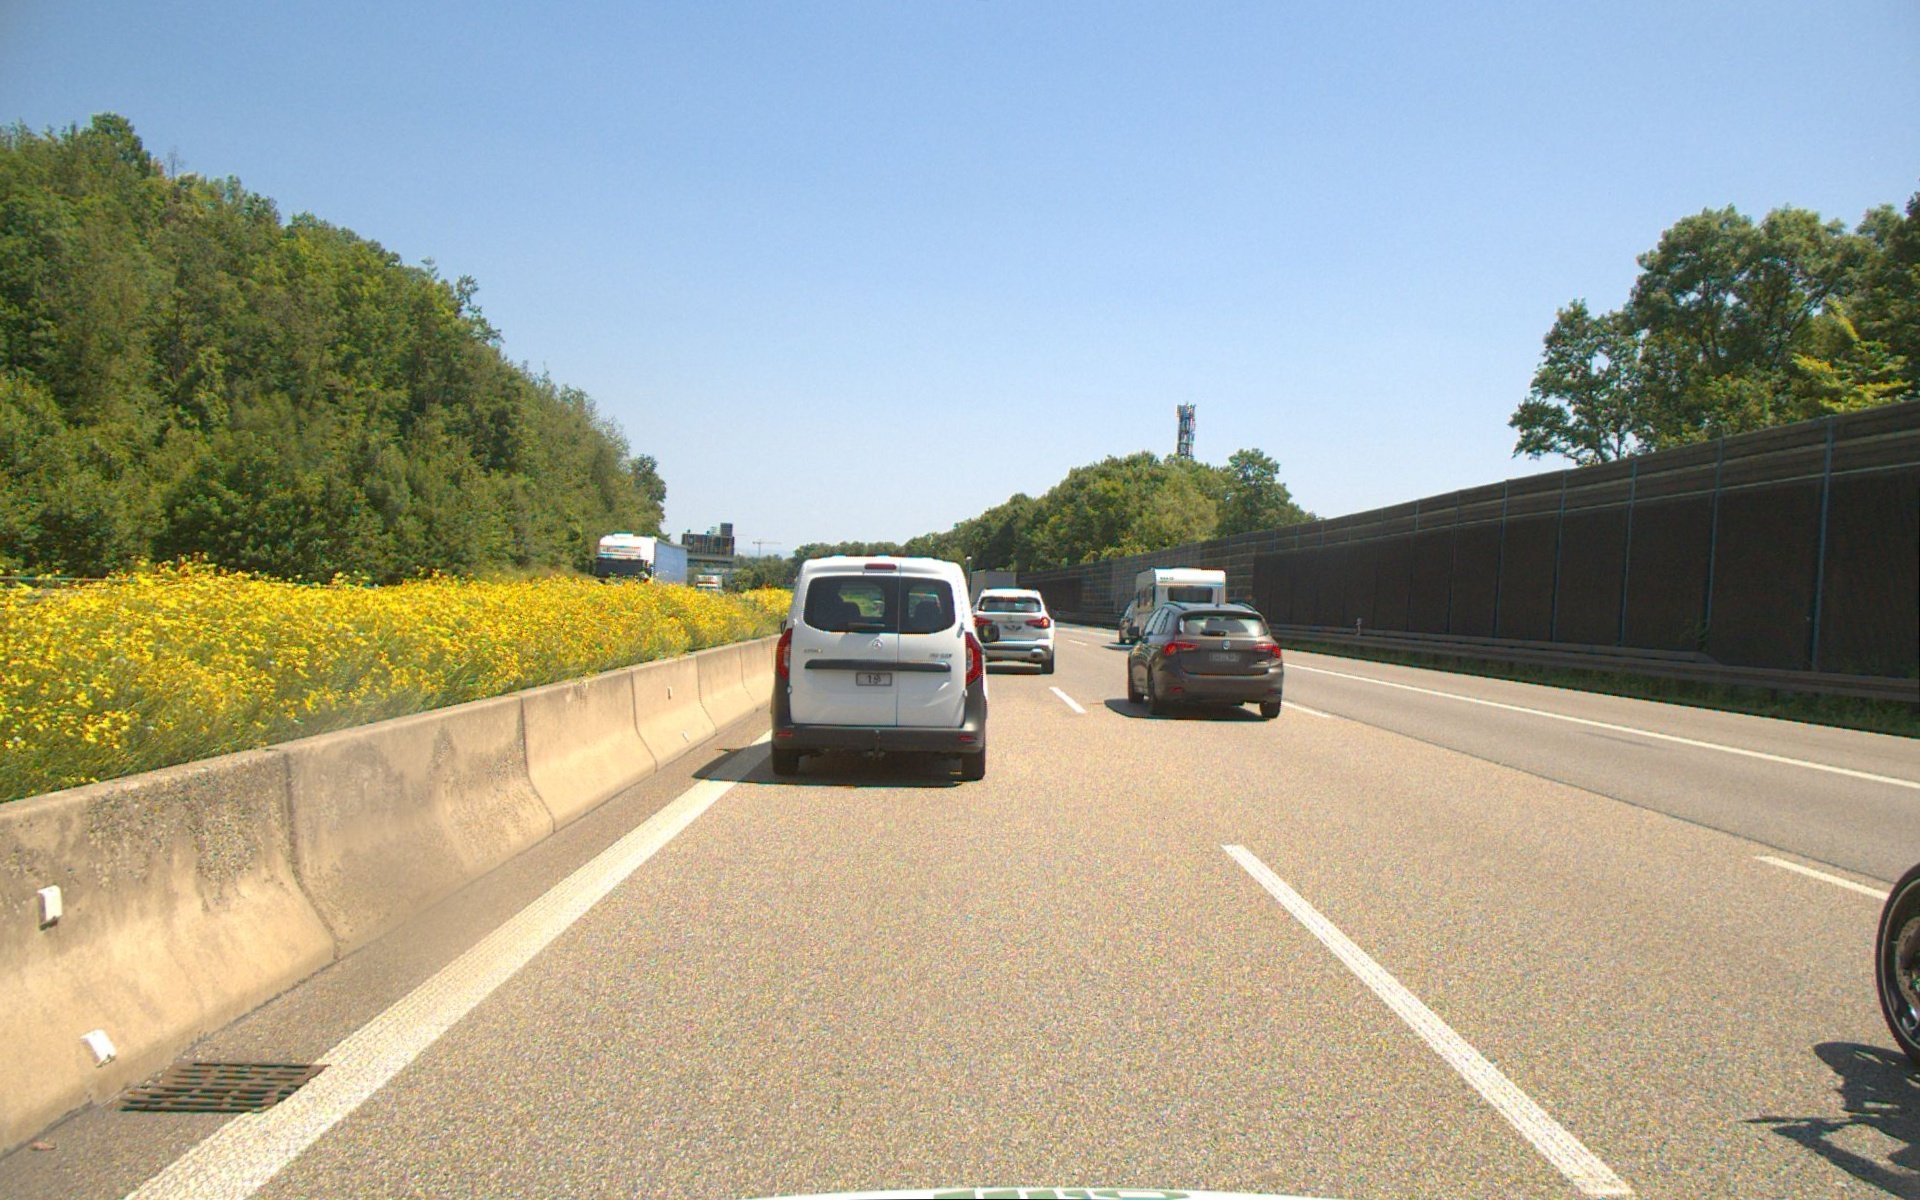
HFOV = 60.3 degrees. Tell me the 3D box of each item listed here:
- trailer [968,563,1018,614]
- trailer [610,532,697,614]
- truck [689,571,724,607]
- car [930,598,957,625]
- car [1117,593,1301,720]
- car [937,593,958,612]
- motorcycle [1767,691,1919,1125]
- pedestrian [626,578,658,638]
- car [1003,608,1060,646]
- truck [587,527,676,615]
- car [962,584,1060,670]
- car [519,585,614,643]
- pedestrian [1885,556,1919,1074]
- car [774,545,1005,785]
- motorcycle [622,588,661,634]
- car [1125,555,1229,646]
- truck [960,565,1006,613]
[{"bbox_3d":[2.691,-0.896,139.239,3.022,4.055,10.311,1,0,-5],"label":"trailer"},{"bbox_3d":[-15.800,-1.355,85.947,2.724,3.924,10.167,2,0,-1],"label":"trailer"},{"bbox_3d":[-26.119,-1.132,170.895,2.680,3.535,7.311,2,0,-2],"label":"truck"},{"bbox_3d":[-1.384,0.929,133.405,1.789,2.023,3.996,2,1,-5],"label":"car"},{"bbox_3d":[3.356,0.708,23.122,1.801,1.539,4.401,2,0,-1],"label":"car"},{"bbox_3d":[-1.359,0.322,182.465,1.955,2.049,3.996,1,0,-5],"label":"car"},{"bbox_3d":[3.220,0.933,4.543,0.842,1.202,2.276,2,0,-1],"label":"motorcycle"},{"bbox_3d":[-7.606,0.188,39.555,0.648,1.389,0.531,1,0,-1],"label":"pedestrian"},{"bbox_3d":[2.916,1.083,67.980,1.788,1.449,3.995,1,0,-5],"label":"car"},{"bbox_3d":[-15.664,-1.334,79.440,2.692,3.924,8.411,2,0,-1],"label":"truck"},{"bbox_3d":[1.011,0.530,34.621,1.833,1.636,3.878,2,0,-1],"label":"car"},{"bbox_3d":[-11.096,0.377,46.870,1.768,1.515,3.999,2,0,-1],"label":"car"},{"bbox_3d":[3.223,0.637,4.664,0.834,1.504,0.638,2,0,-1],"label":"pedestrian"},{"bbox_3d":[-0.578,0.514,14.890,1.766,1.839,3.999,1,0,-1],"label":"car"},{"bbox_3d":[-7.608,0.253,39.568,0.653,1.059,1.475,1,0,-1],"label":"motorcycle"},{"bbox_3d":[7.145,0.022,55.085,2.429,2.814,6.217,1,0,-2],"label":"car"},{"bbox_3d":[2.000,-0.904,146.927,3.022,4.055,9.635,1,0,-5],"label":"truck"}]
